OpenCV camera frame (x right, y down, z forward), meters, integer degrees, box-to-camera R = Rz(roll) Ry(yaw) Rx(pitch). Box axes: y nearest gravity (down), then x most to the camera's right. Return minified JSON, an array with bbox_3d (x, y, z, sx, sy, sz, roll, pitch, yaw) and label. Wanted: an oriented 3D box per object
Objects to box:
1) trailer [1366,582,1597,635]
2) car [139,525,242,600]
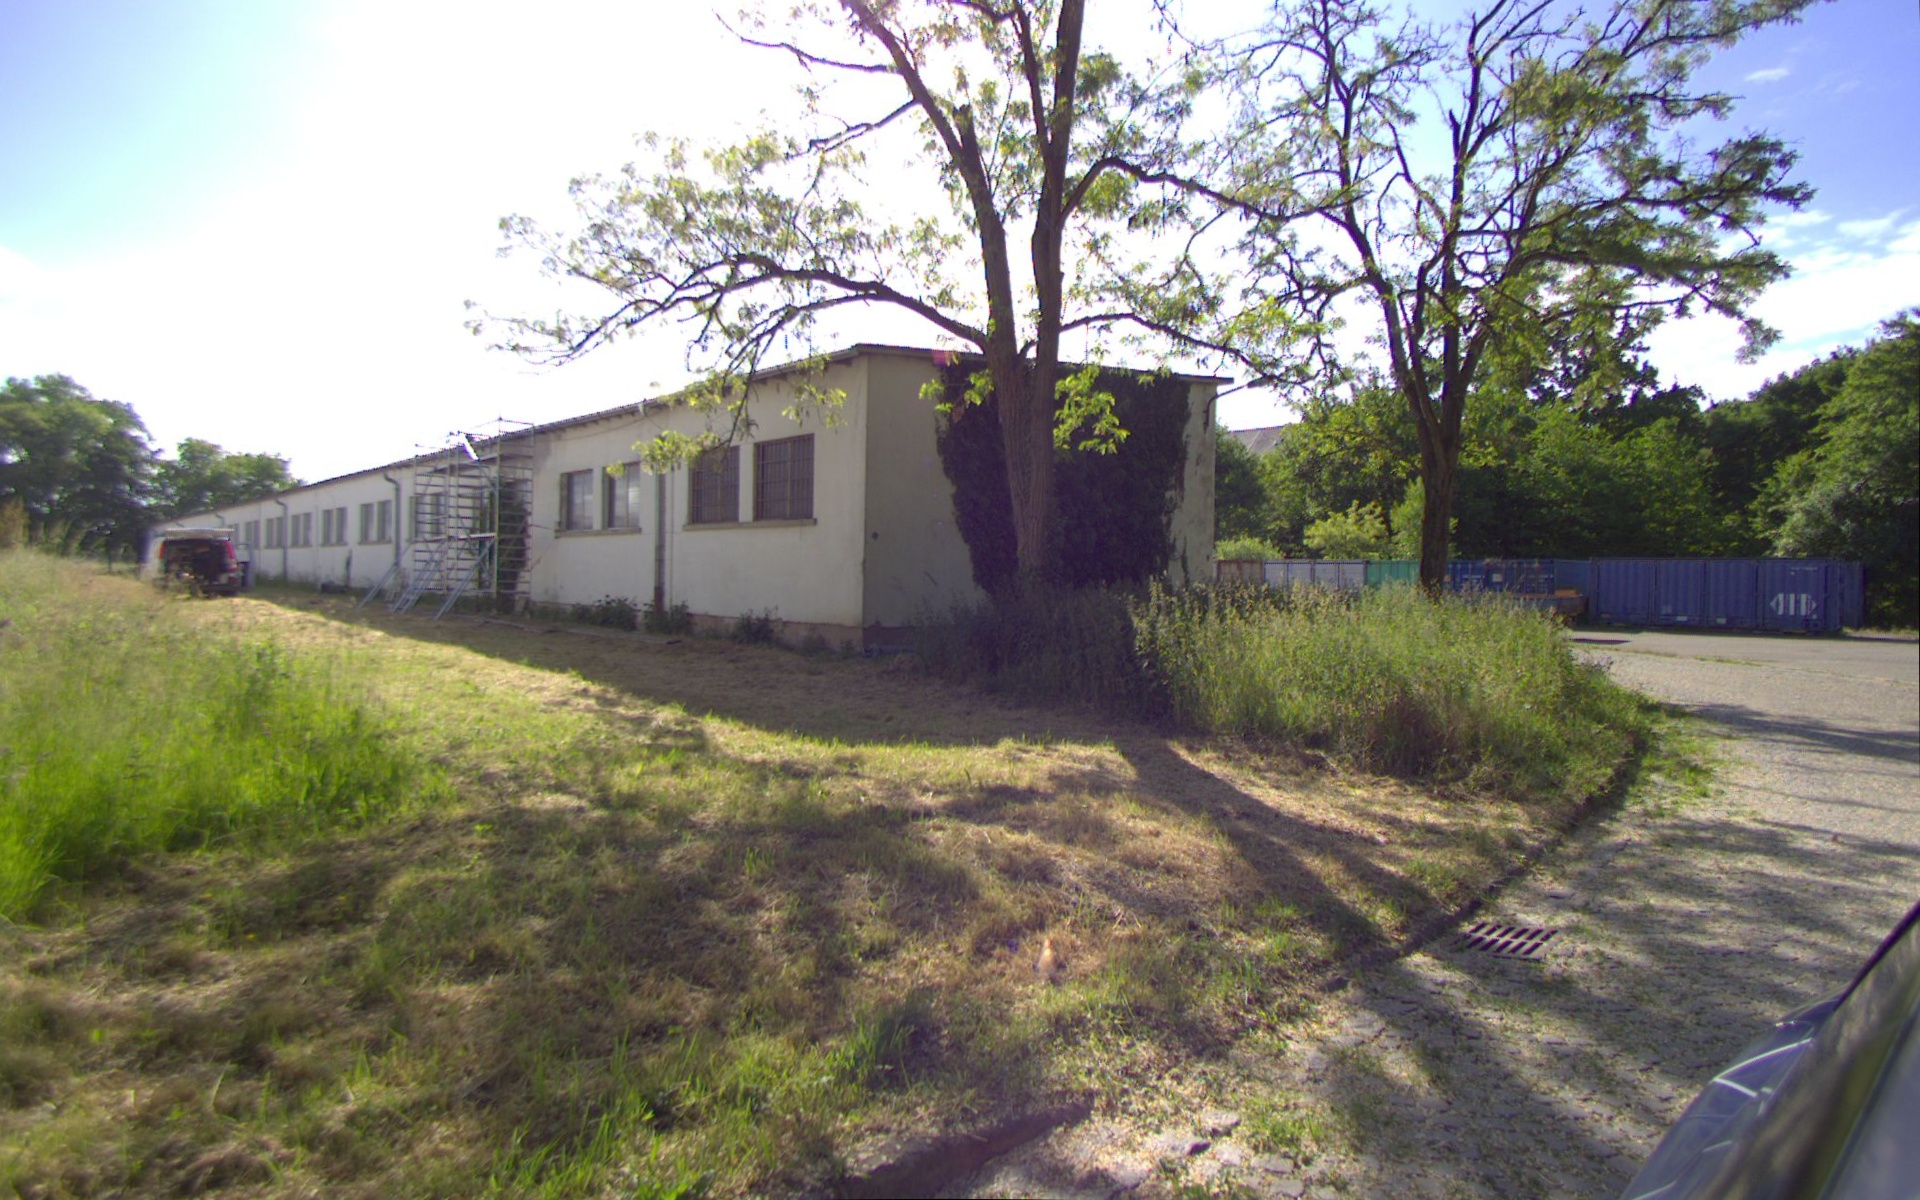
[{"bbox_3d":[17.570,0.208,34.417,2.809,1.536,6.477,-2,2,-44],"label":"trailer"},{"bbox_3d":[-22.541,-1.089,29.598,1.967,2.039,3.991,0,2,-43],"label":"car"}]
